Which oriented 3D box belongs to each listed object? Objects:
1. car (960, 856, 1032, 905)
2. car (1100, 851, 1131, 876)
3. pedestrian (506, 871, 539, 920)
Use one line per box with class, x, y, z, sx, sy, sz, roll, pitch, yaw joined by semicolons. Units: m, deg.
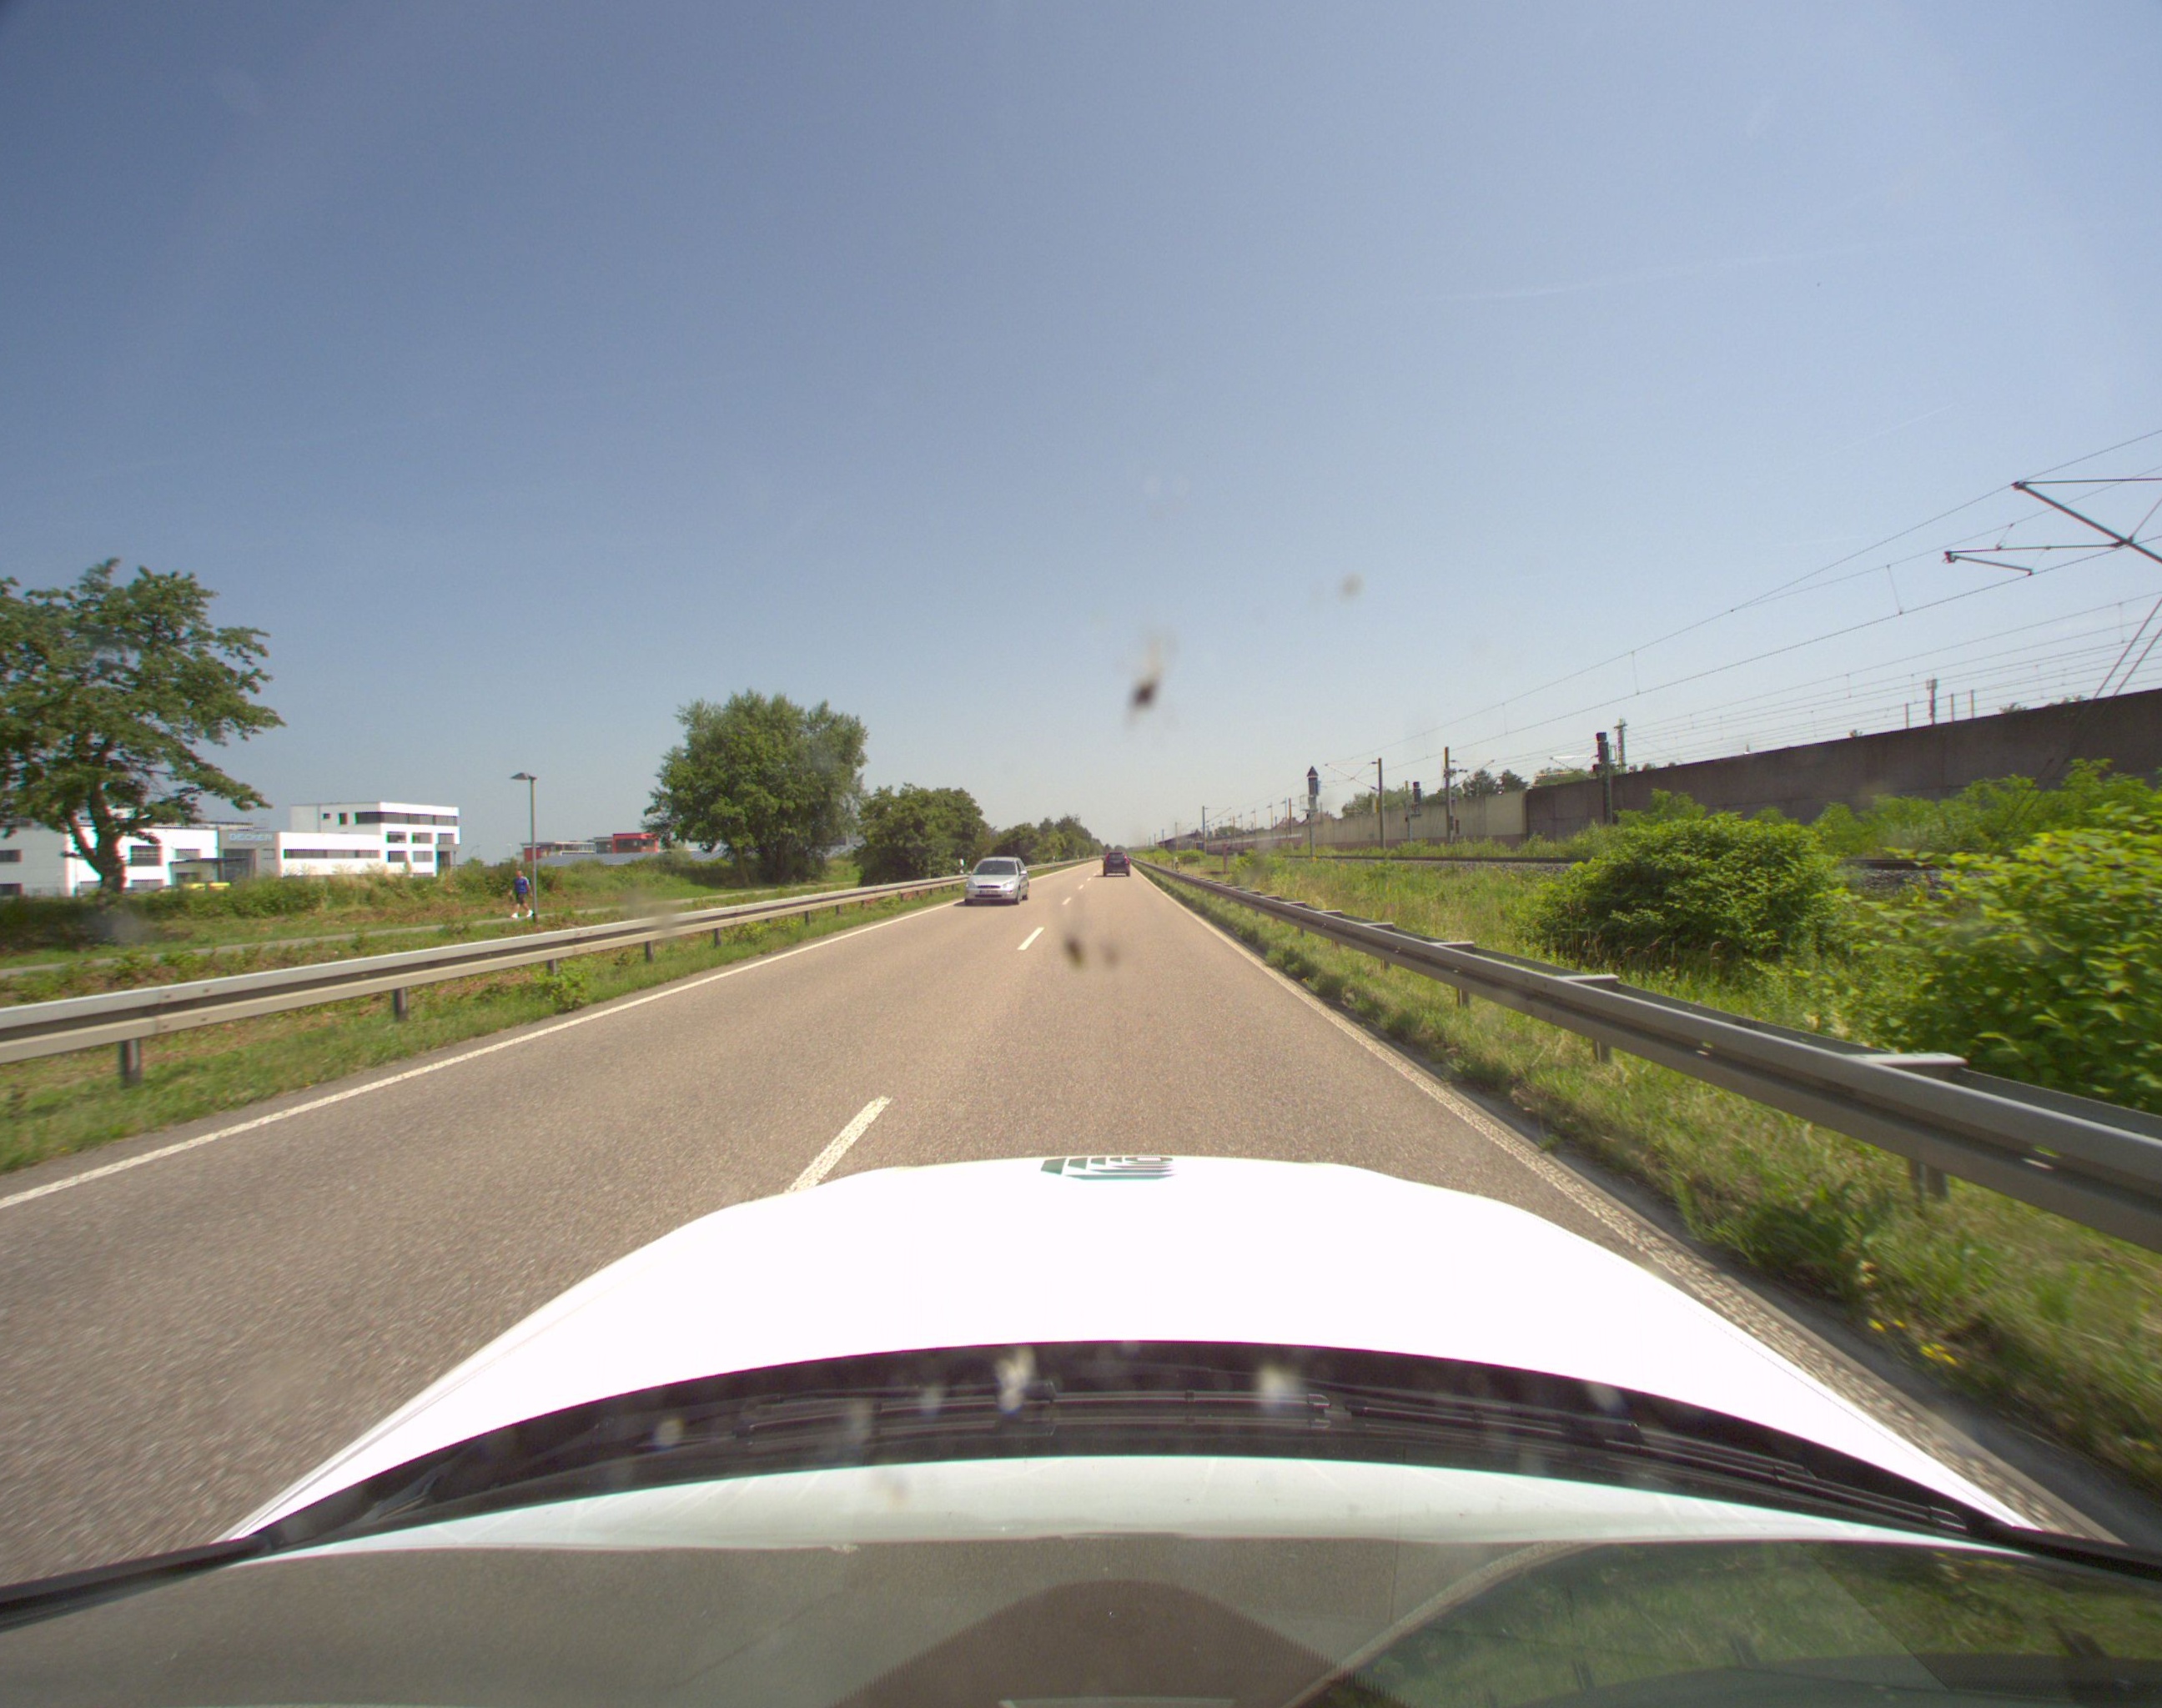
car;-2.692;0.795;26.782;1.692;1.475;4.688;0;0;2
car;2.371;0.652;57.119;1.987;1.700;4.000;-1;0;0
pedestrian;-20.963;1.545;30.579;0.576;1.750;0.822;-3;0;6
